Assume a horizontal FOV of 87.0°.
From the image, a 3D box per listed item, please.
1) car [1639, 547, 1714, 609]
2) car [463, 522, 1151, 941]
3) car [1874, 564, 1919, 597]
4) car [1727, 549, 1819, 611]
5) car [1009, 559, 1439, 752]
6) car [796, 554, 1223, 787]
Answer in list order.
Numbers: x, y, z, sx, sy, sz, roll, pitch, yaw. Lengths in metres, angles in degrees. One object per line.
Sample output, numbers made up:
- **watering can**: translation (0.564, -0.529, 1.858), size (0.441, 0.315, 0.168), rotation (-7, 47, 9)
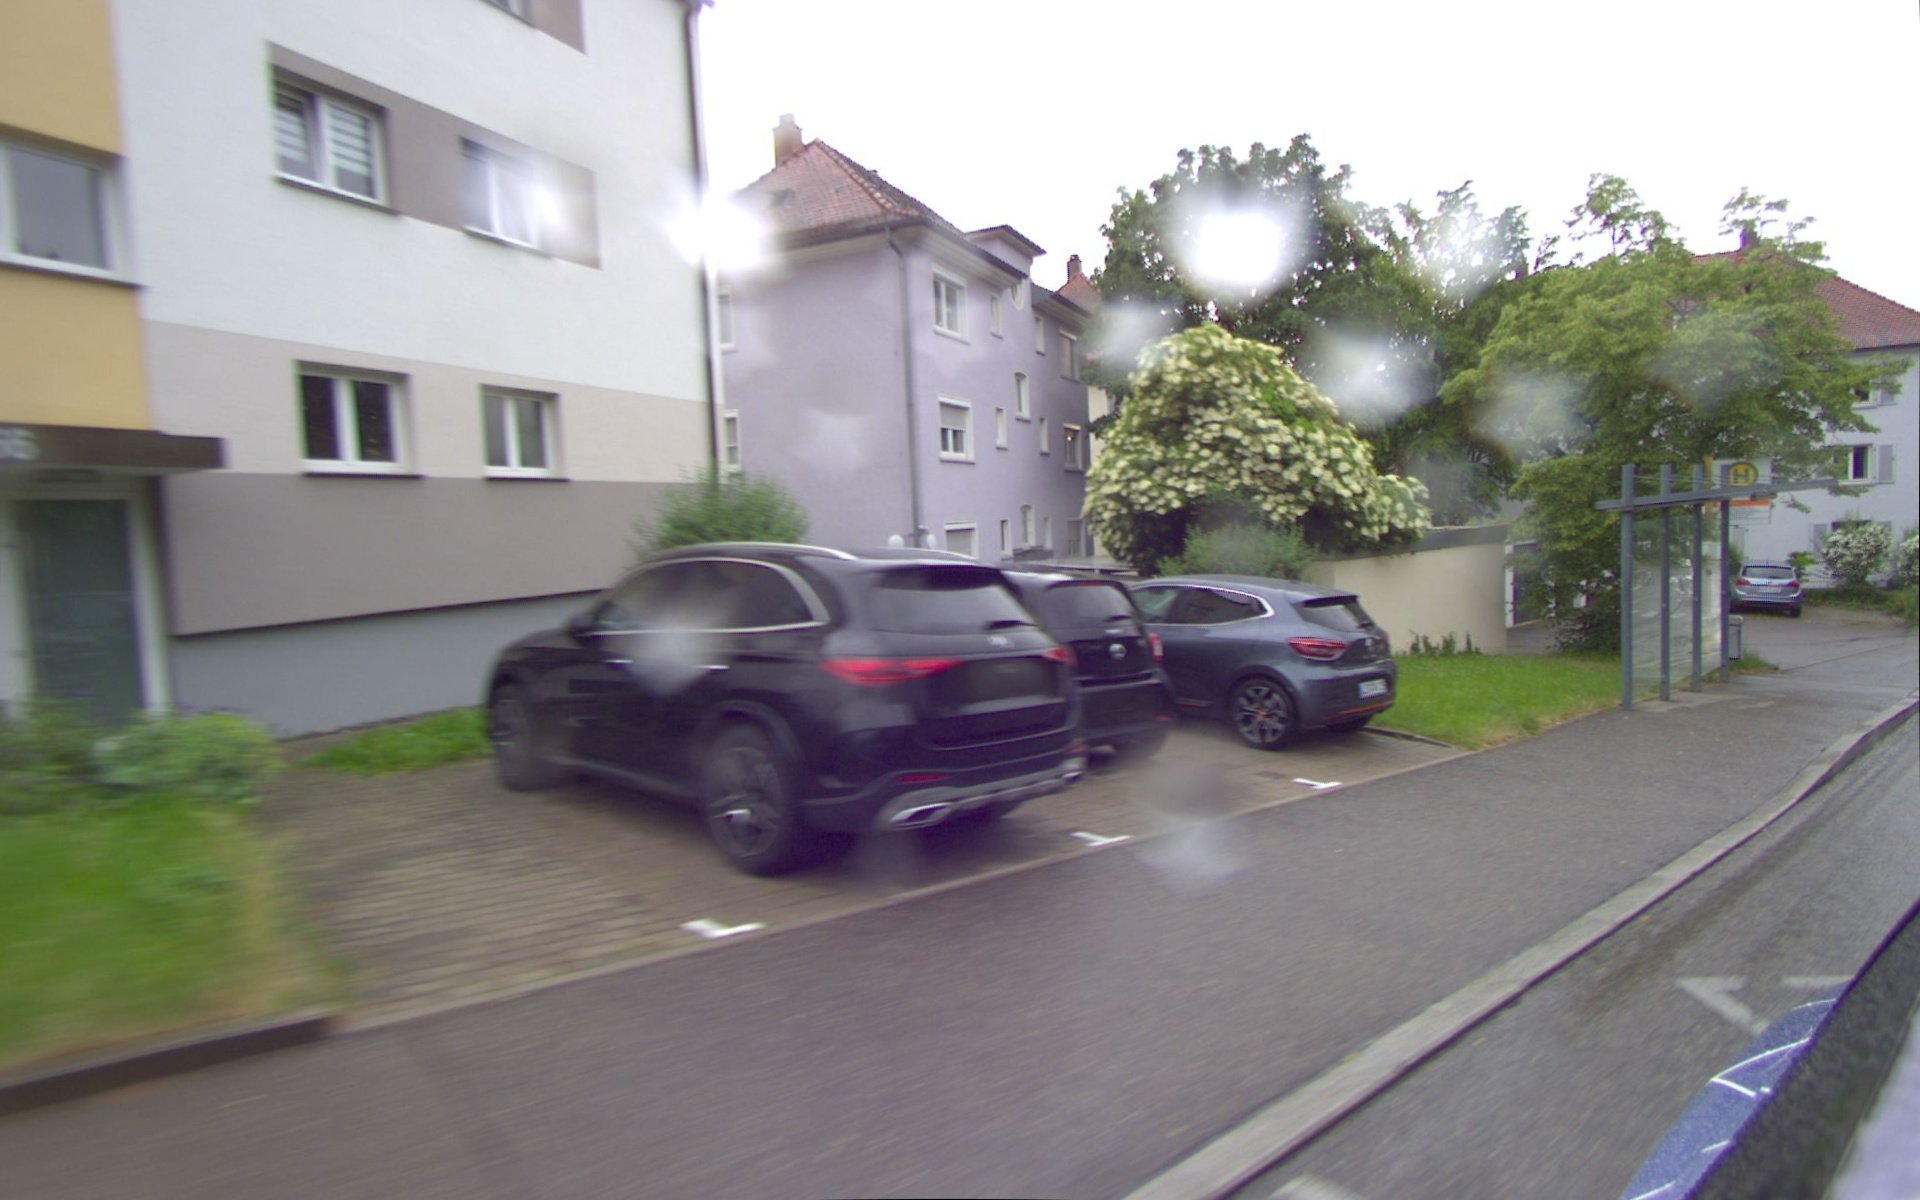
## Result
- **car**: translation (23.258, -0.782, 32.839), size (1.786, 1.611, 4.205), rotation (4, 8, 36)
- **car**: translation (-1.256, 0.433, 6.284), size (4.526, 1.681, 1.827), rotation (3, 2, 43)
- **car**: translation (42.828, -0.881, 44.096), size (1.688, 1.425, 4.102), rotation (-2, 1, -19)
- **car**: translation (25.584, -0.680, 31.954), size (1.712, 1.580, 3.756), rotation (4, 7, 32)
- **car**: translation (2.406, 0.381, 9.911), size (1.695, 1.476, 3.750), rotation (0, 2, -42)
- **car**: translation (0.257, 0.406, 8.517), size (1.638, 1.515, 3.445), rotation (0, 2, -41)
